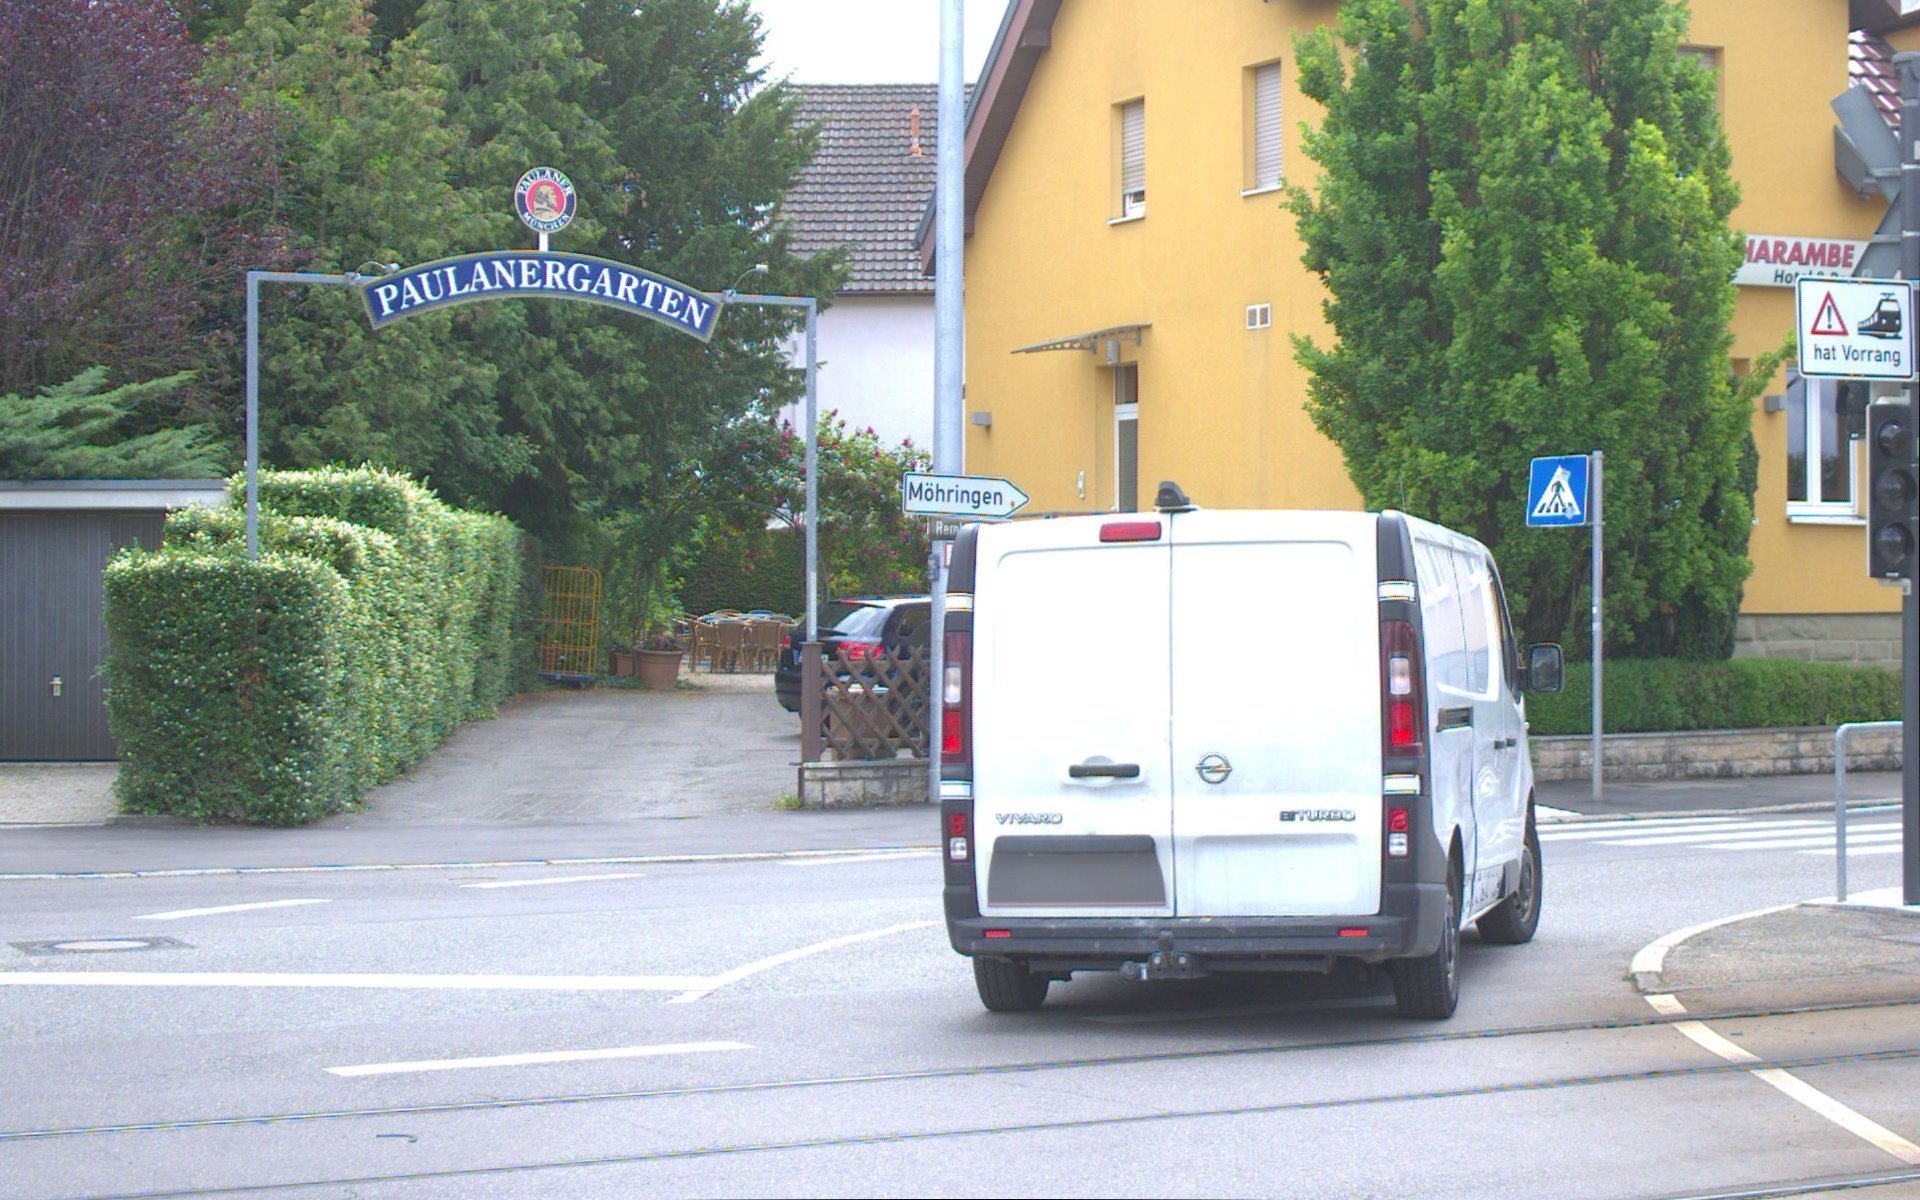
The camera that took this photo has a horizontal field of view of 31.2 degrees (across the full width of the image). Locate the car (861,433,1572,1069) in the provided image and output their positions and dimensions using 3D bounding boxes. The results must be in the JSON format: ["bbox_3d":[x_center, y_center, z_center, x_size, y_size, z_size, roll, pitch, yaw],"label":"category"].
[{"bbox_3d":[1.322,0.481,14.422,2.118,2.127,5.437,1,0,13],"label":"car"}]

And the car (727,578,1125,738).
[{"bbox_3d":[-0.327,0.551,34.813,3.667,1.422,1.727,-1,3,-33],"label":"car"}]
